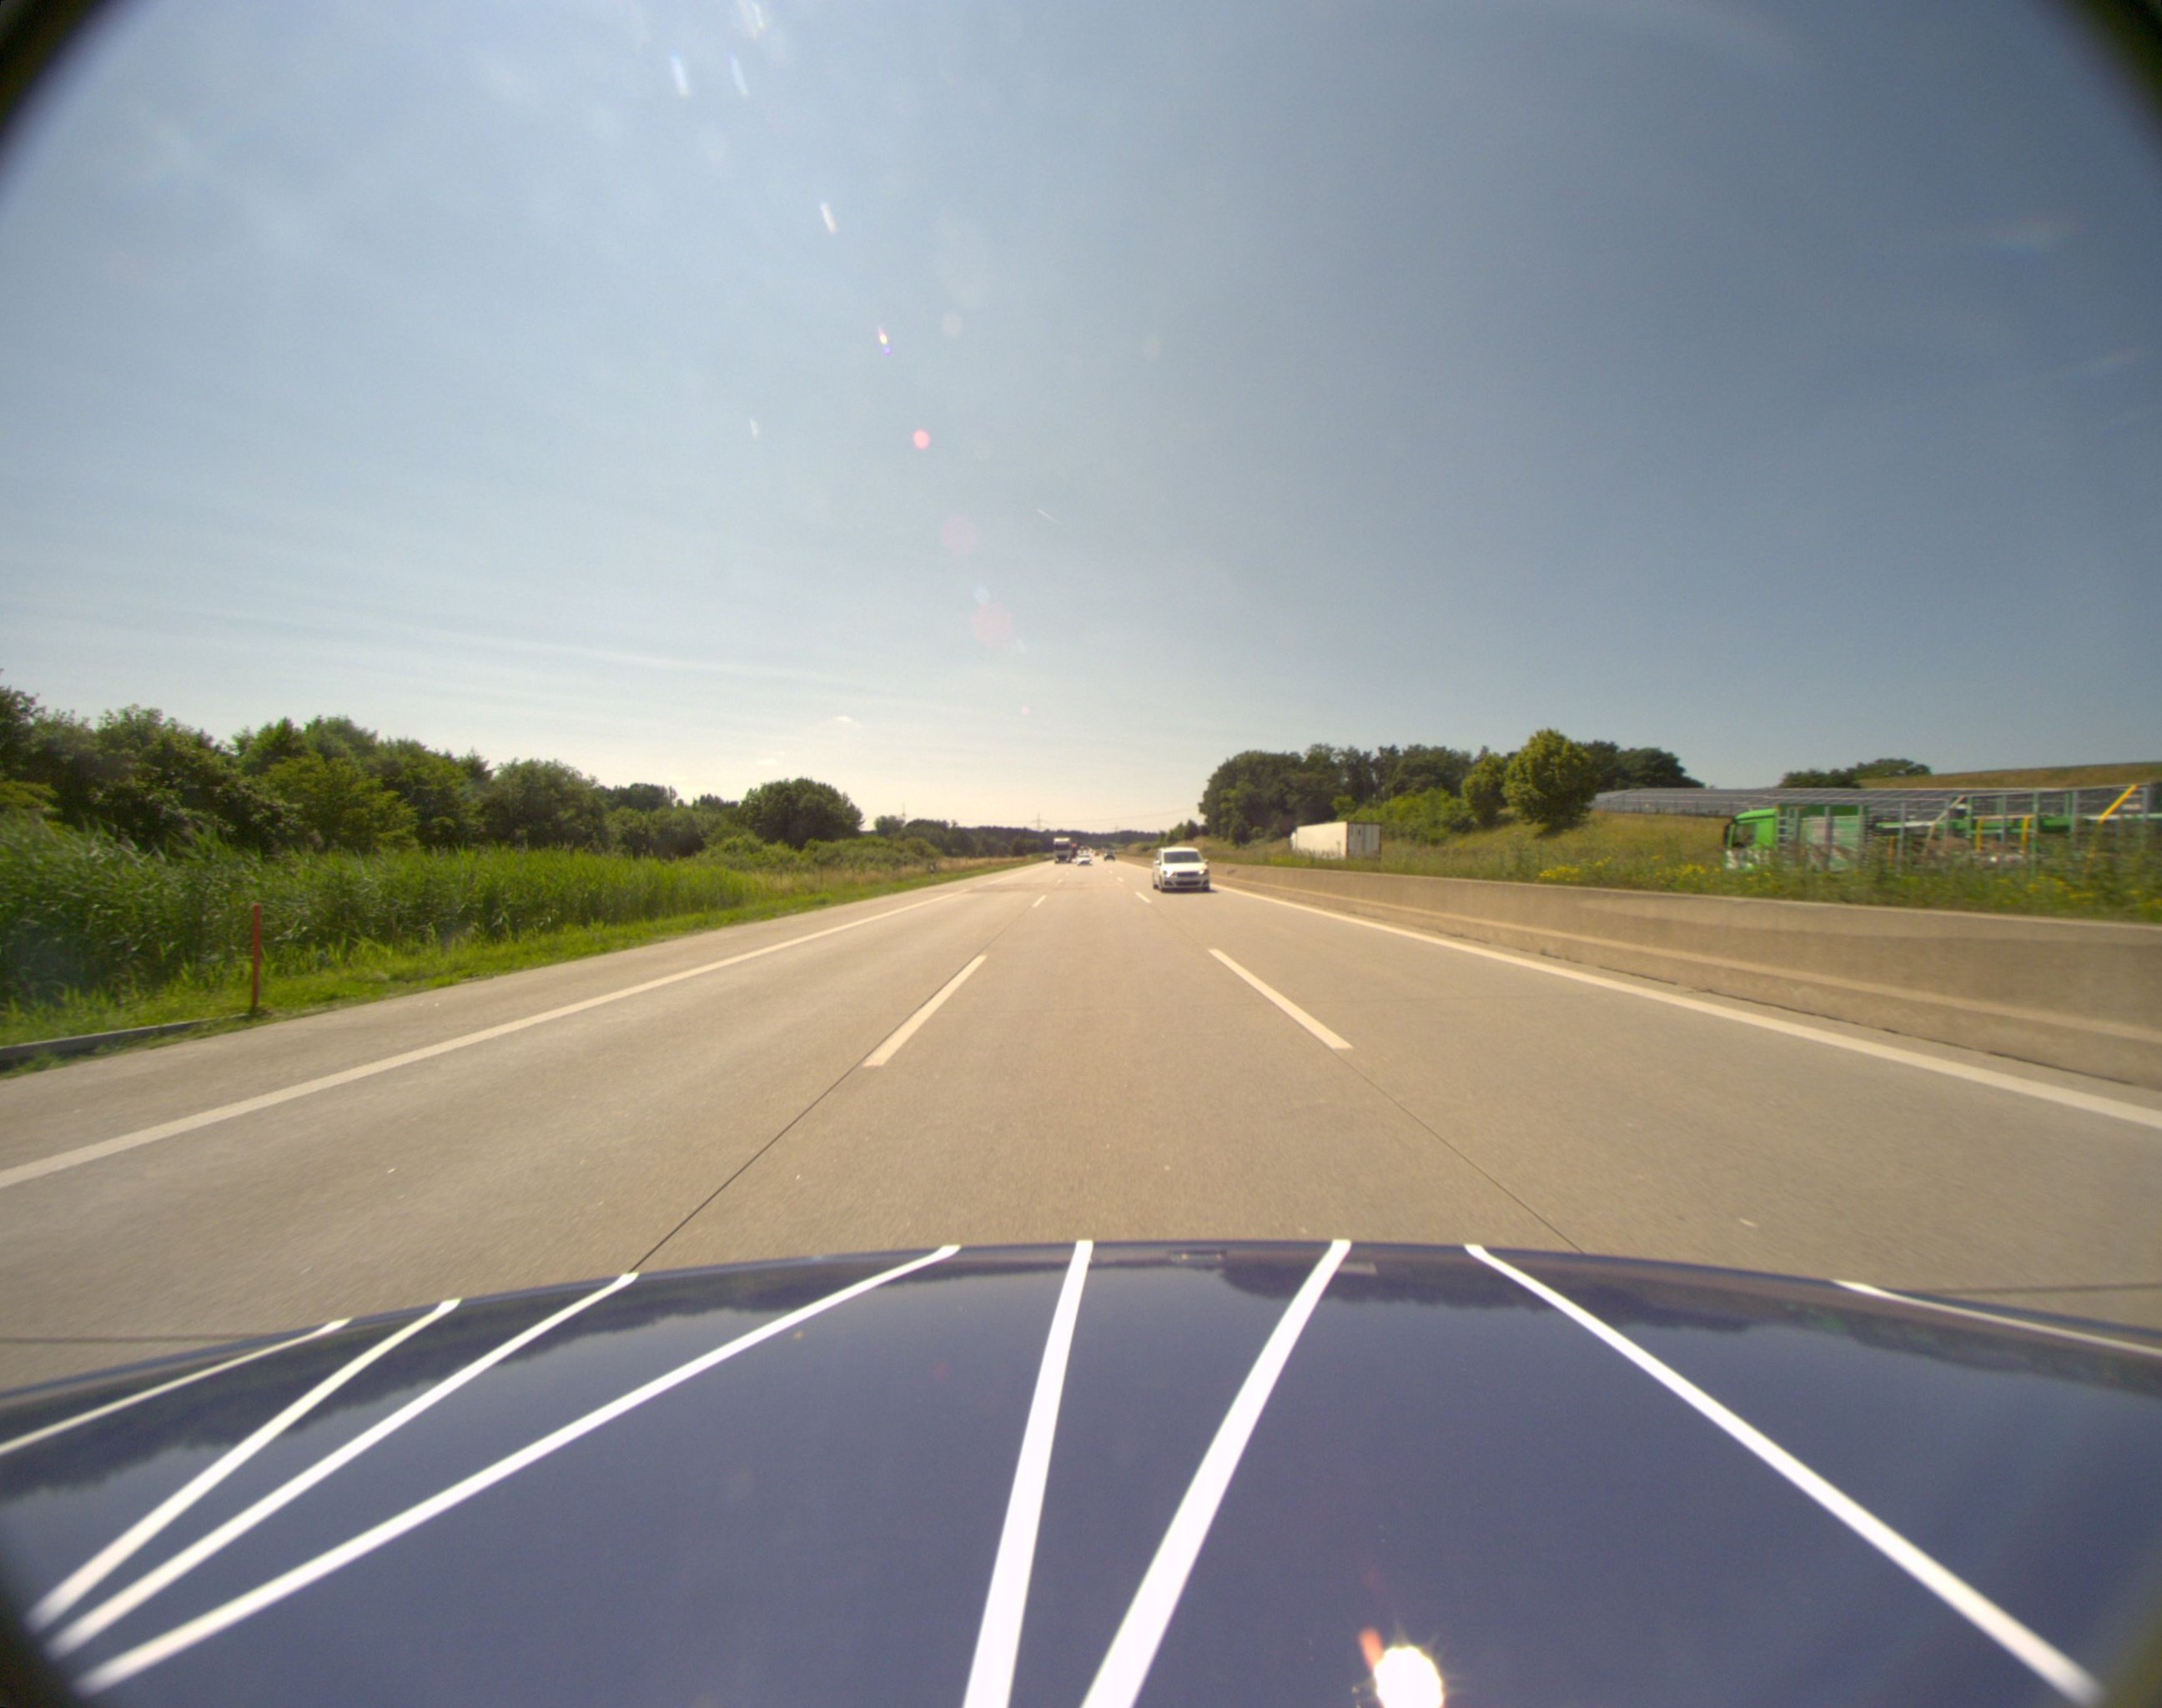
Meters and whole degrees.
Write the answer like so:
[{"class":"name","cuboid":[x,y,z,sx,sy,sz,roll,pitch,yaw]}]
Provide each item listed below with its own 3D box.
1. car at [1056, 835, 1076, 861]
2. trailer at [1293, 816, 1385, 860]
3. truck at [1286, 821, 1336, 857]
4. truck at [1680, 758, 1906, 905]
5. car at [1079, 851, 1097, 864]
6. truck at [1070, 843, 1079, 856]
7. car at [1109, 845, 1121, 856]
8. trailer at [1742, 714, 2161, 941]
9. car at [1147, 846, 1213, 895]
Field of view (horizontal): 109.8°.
[{"class":"car","cuboid":[-2.403,-0.928,125.422,2.766,4.029,10.851,-1,1,1]},{"class":"trailer","cuboid":[21.124,-1.297,63.478,2.839,3.165,14.504,-2,1,1]},{"class":"truck","cuboid":[21.226,-1.388,70.487,2.840,3.139,5.826,-2,1,1]},{"class":"truck","cuboid":[21.325,-0.635,23.096,2.752,3.928,4.352,-2,1,1]},{"class":"car","cuboid":[0.878,0.434,97.666,2.065,1.472,5.068,-5,0,0]},{"class":"truck","cuboid":[-1.847,-1.280,215.880,2.351,3.474,5.245,-1,1,0]},{"class":"car","cuboid":[6.166,-0.616,138.216,1.998,1.836,6.529,-3,1,1]},{"class":"trailer","cuboid":[21.243,-0.541,17.771,2.739,4.167,10.256,-2,0,1]},{"class":"car","cuboid":[3.851,0.565,30.582,1.850,1.698,6.035,-2,1,1]}]
